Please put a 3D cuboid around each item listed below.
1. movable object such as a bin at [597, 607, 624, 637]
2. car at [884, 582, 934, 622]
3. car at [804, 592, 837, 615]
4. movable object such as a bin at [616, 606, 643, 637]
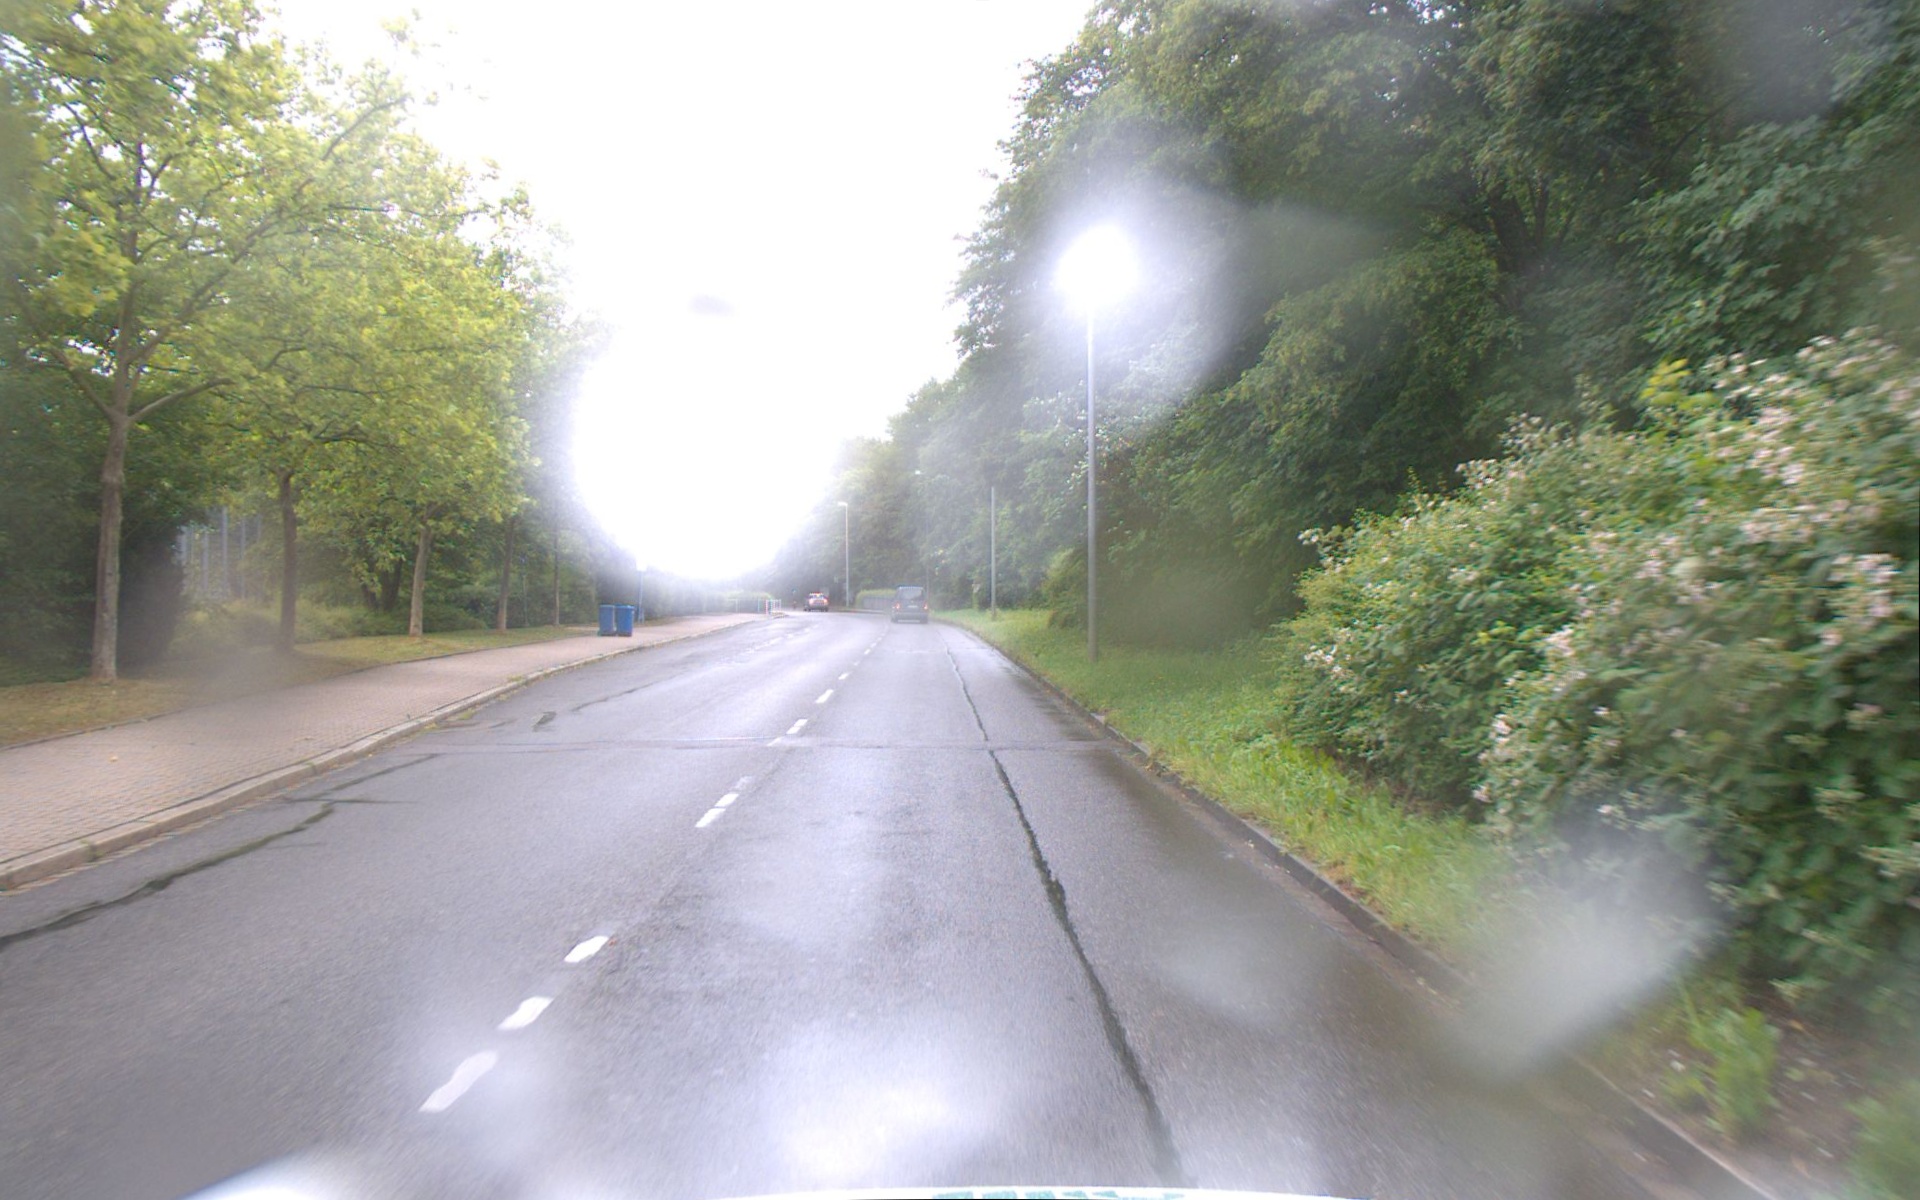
[{"bbox_3d":[-12.362,0.782,58.554,0.660,1.044,0.825,-2,1,-33],"label":"movable object such as a bin"},{"bbox_3d":[-2.622,0.073,84.658,1.957,1.825,3.991,2,1,-10],"label":"car"},{"bbox_3d":[-11.434,0.267,135.514,1.961,1.803,3.982,-1,1,-16],"label":"car"},{"bbox_3d":[-11.761,0.763,58.925,0.660,1.044,0.825,-2,1,-33],"label":"movable object such as a bin"}]
